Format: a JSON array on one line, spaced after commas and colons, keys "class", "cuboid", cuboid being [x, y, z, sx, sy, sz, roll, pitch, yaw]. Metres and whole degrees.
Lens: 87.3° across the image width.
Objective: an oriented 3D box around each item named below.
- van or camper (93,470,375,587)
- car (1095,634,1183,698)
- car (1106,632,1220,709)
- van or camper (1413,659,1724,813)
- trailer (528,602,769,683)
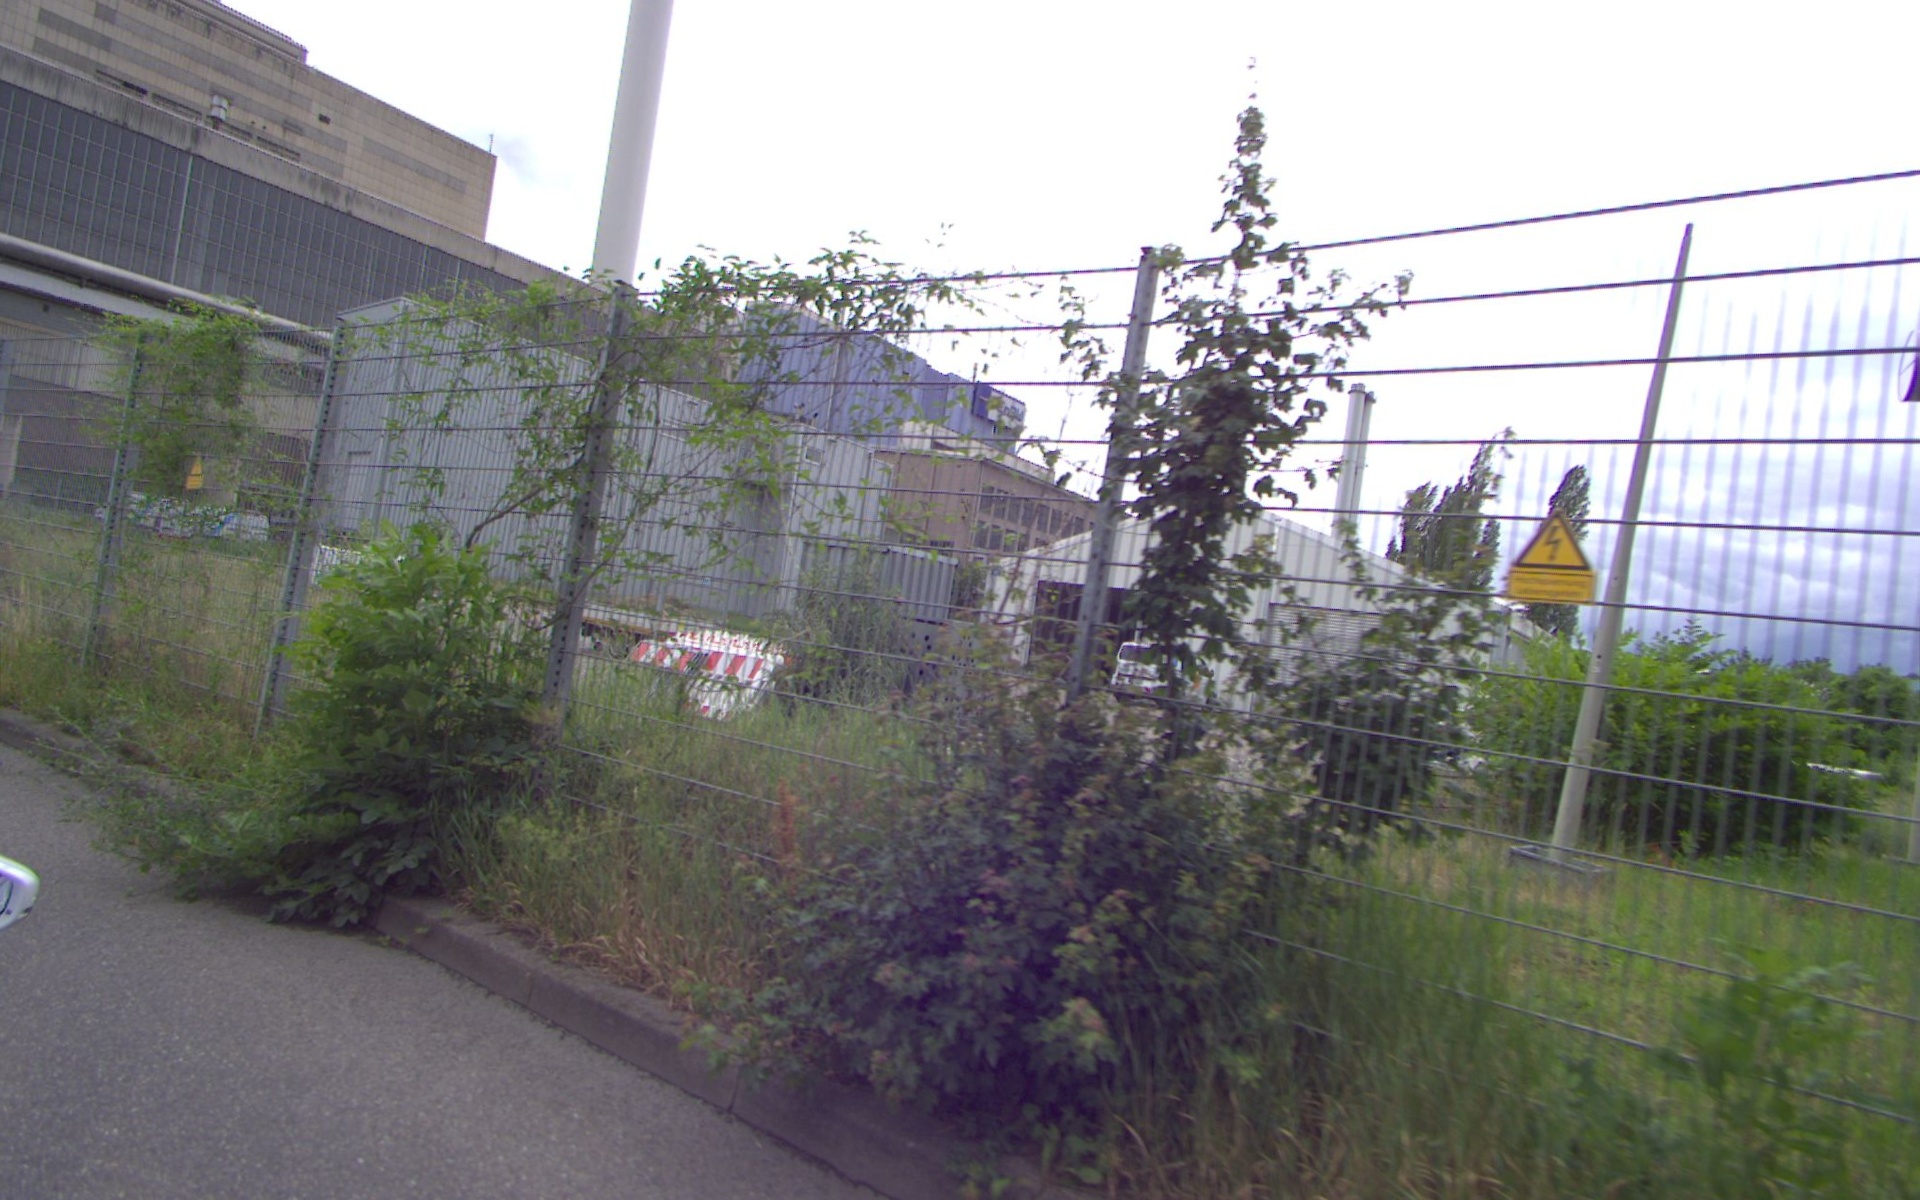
[{"class": "van or camper", "cuboid": [-41.192, -3.841, 57.979, 5.383, 4.582, 11.858, 7, -2, 19]}, {"class": "car", "cuboid": [8.212, 3.058, 45.921, 1.969, 2.402, 4.330, 8, -2, 36]}, {"class": "car", "cuboid": [6.751, 2.369, 33.139, 1.968, 2.036, 4.333, 8, -2, 34]}, {"class": "van or camper", "cuboid": [14.907, 3.235, 24.900, 6.038, 2.578, 2.567, 8, -1, 40]}, {"class": "trailer", "cuboid": [-6.224, 0.819, 19.870, 4.619, 0.825, 2.299, 7, -2, 38]}]
